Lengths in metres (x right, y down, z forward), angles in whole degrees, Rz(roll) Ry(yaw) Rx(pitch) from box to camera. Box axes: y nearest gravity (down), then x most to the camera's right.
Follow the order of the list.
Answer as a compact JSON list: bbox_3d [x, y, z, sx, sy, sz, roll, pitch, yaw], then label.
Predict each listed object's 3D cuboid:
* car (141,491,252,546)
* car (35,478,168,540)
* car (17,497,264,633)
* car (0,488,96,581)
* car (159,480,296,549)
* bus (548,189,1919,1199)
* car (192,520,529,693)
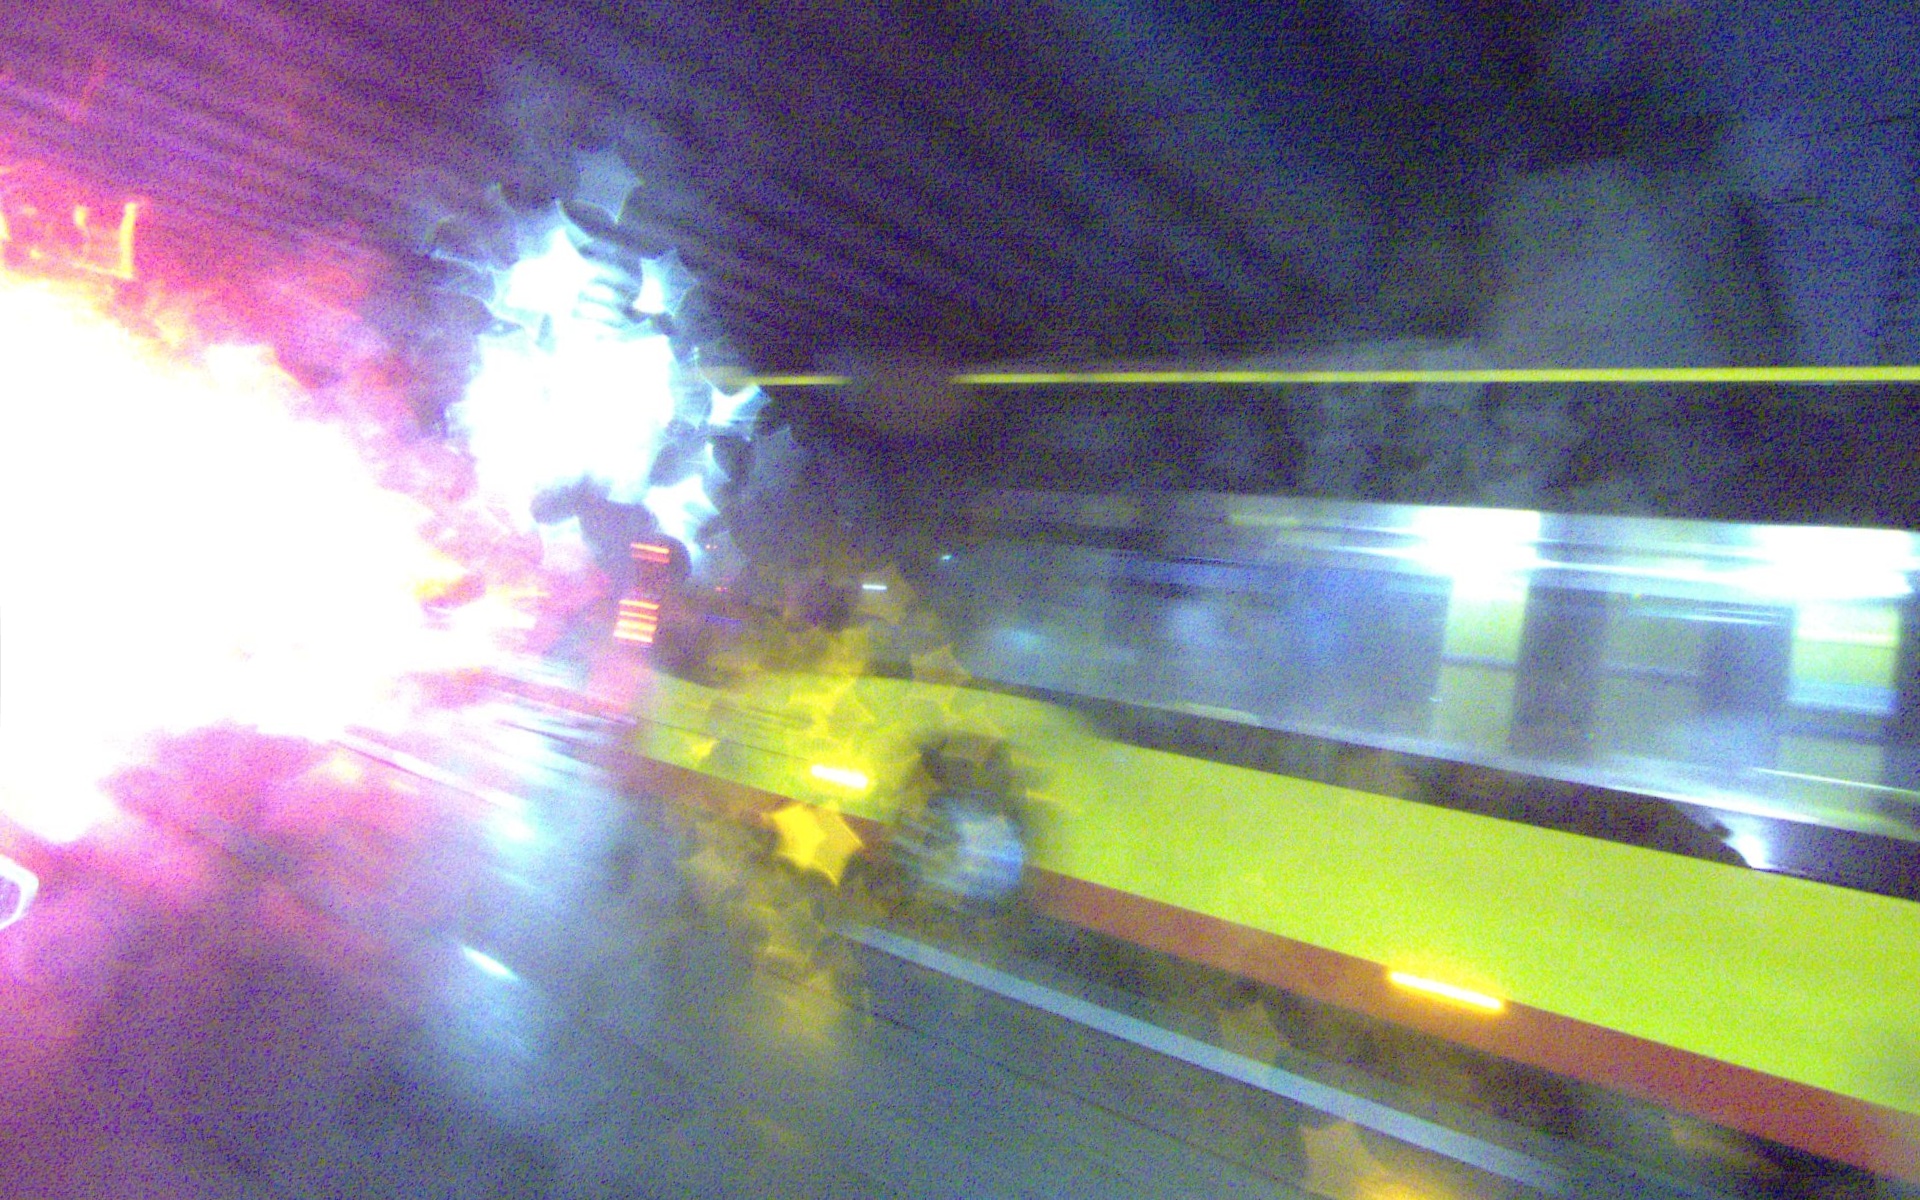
[{"bbox_3d":[-38.985,-4.116,51.419,4.277,2.037,2.022,9,-2,-40],"label":"car"},{"bbox_3d":[-39.103,-4.110,45.885,2.018,2.037,4.285,7,-2,44],"label":"car"},{"bbox_3d":[-12.324,-0.573,15.019,4.714,1.505,1.720,7,0,37],"label":"car"},{"bbox_3d":[-17.768,-1.323,18.683,4.099,1.465,1.719,7,1,37],"label":"car"},{"bbox_3d":[-29.319,-3.381,40.340,1.972,2.037,3.983,7,-2,41],"label":"car"},{"bbox_3d":[2.296,0.368,5.008,9.540,3.315,2.738,7,-1,32],"label":"bus"},{"bbox_3d":[-7.135,0.034,11.849,4.095,1.506,1.721,7,1,34],"label":"car"}]
